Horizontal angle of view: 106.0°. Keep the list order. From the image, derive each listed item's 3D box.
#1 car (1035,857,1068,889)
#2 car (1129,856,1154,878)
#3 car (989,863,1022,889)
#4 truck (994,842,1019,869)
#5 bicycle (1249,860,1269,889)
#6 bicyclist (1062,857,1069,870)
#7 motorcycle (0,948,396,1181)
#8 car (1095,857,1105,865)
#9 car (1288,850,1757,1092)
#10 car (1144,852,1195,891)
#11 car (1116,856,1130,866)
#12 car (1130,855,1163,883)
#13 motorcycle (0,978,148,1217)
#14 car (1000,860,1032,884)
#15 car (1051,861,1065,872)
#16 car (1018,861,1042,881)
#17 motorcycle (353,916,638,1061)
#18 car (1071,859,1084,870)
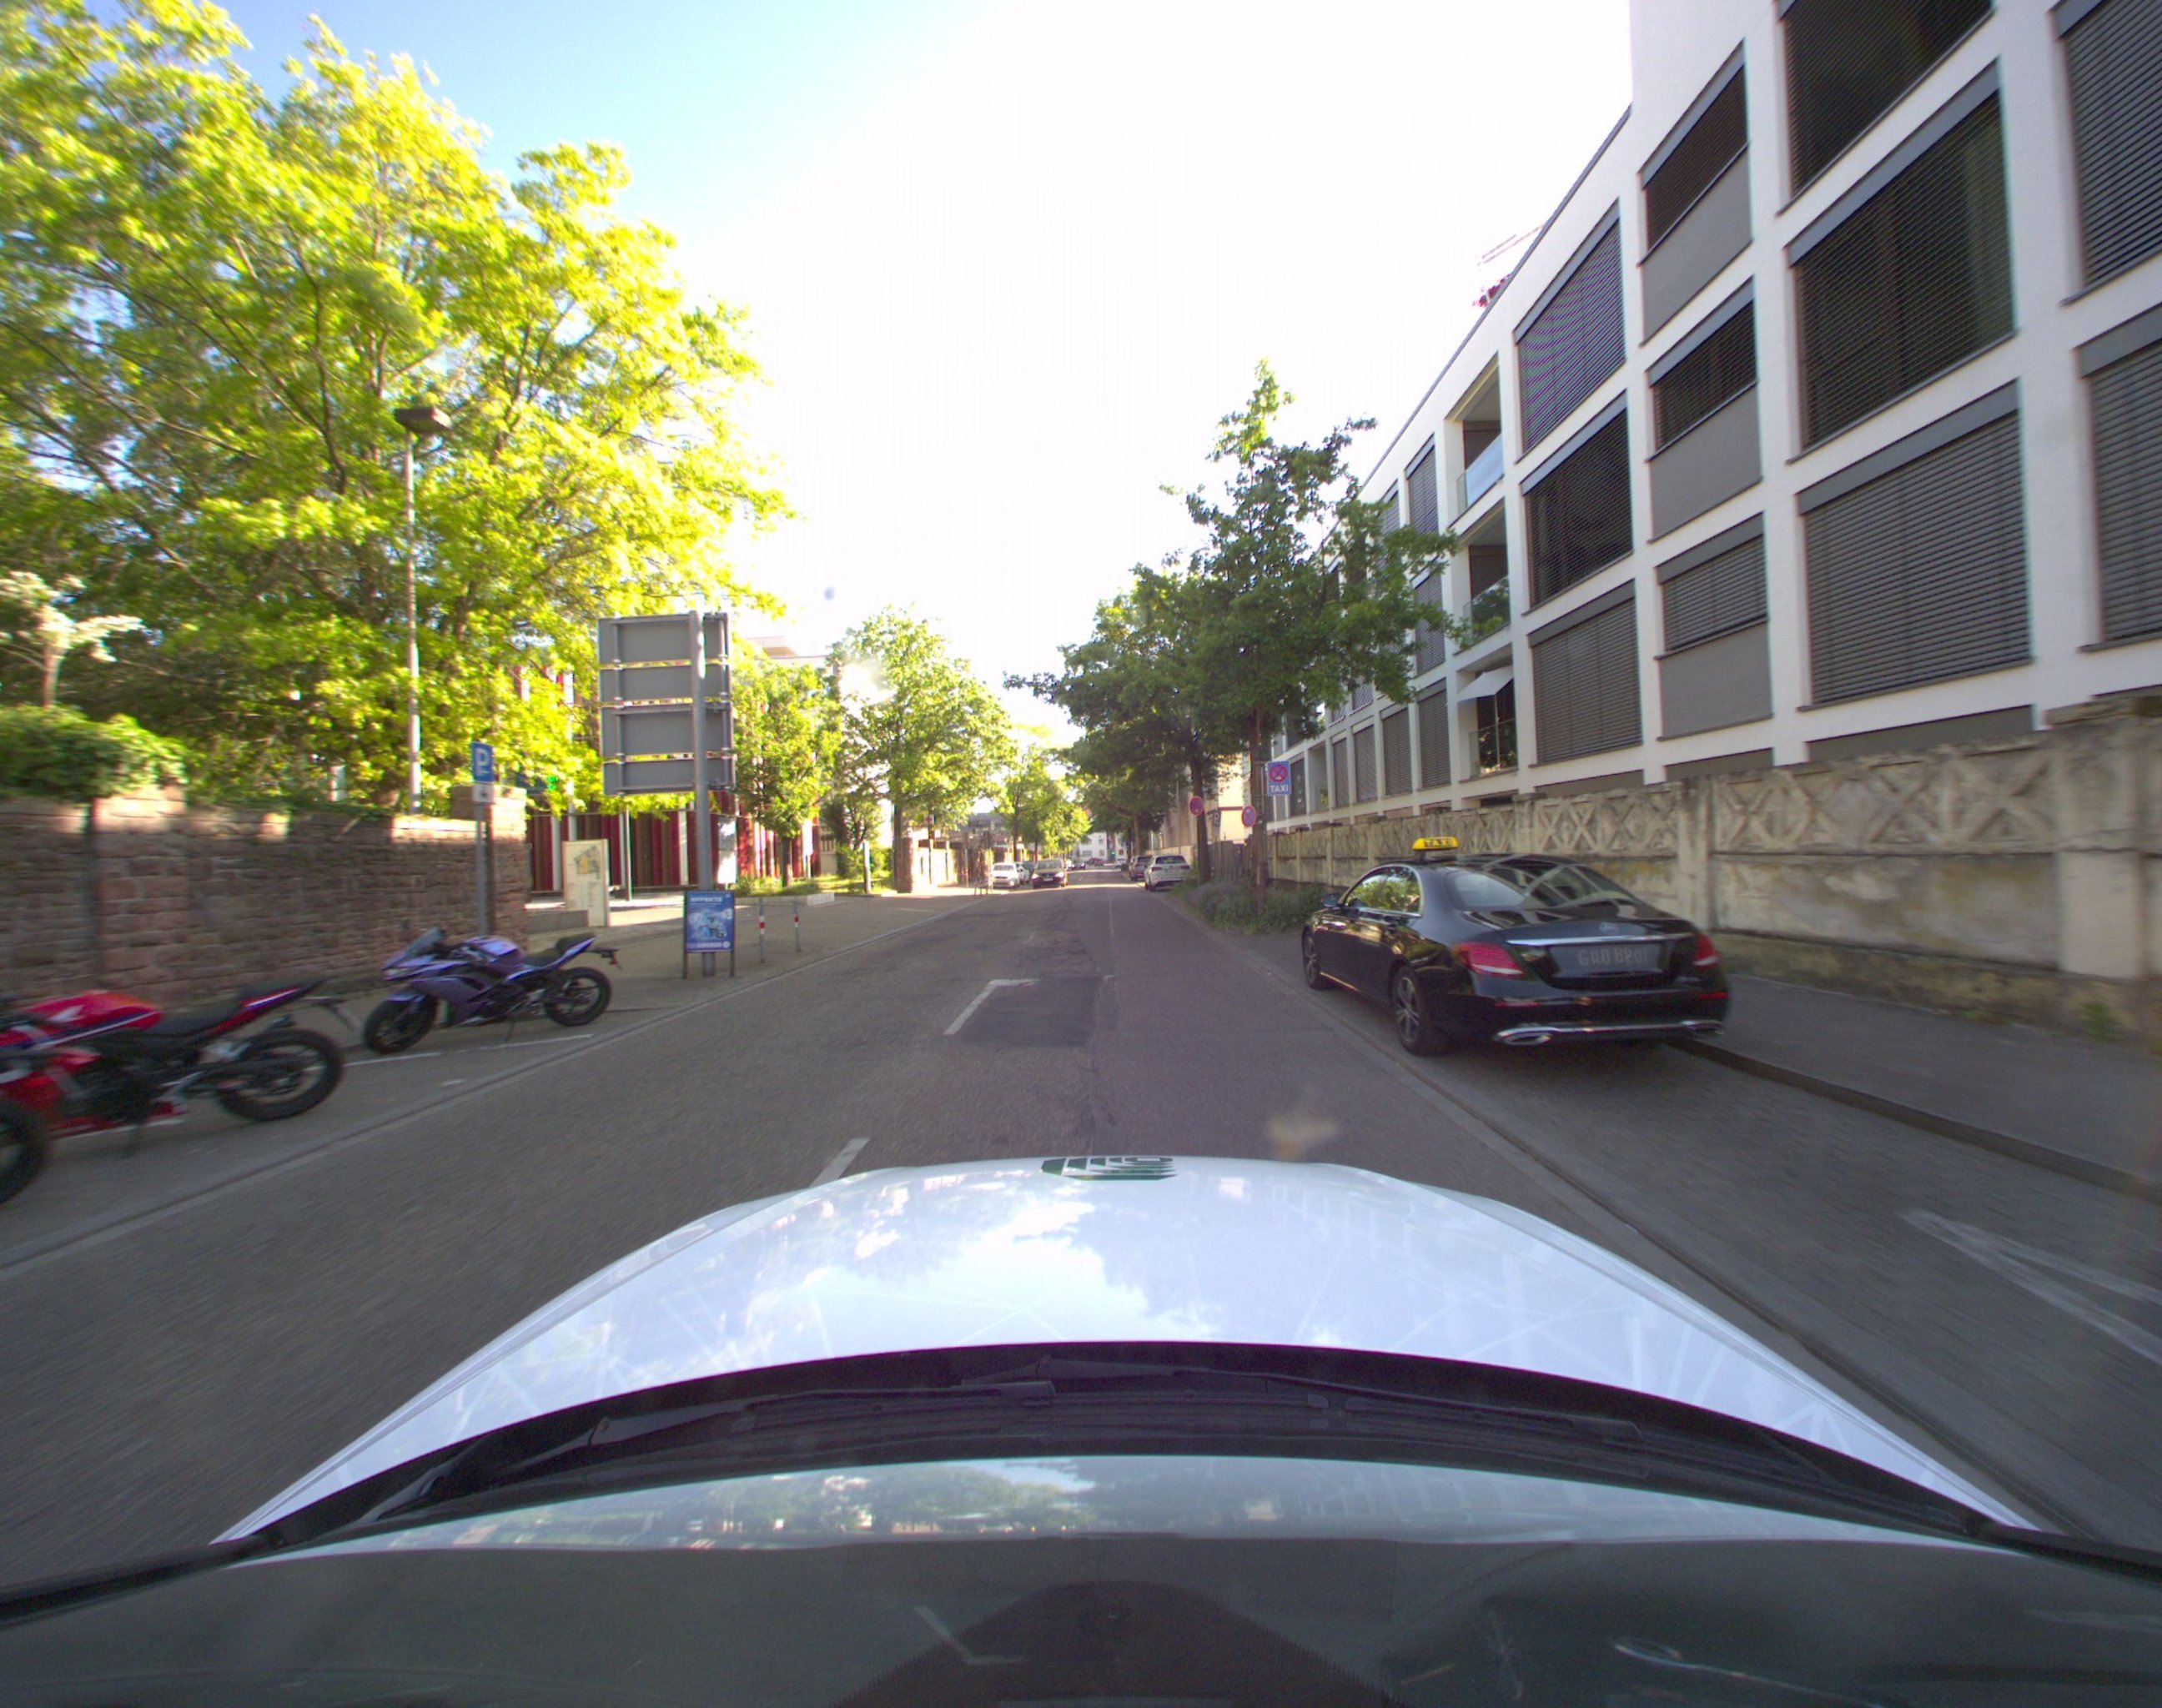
[{"bbox_3d":[-1.603,1.041,45.742,1.639,1.611,4.019,-4,0,-1],"label":"car"},{"bbox_3d":[4.515,0.932,60.806,1.716,1.510,3.996,-4,0,4],"label":"car"},{"bbox_3d":[-4.411,1.245,47.932,1.568,1.402,3.750,1,0,0],"label":"car"},{"bbox_3d":[-10.522,0.254,115.615,2.723,3.711,7.429,0,-1,1],"label":"truck"},{"bbox_3d":[6.560,0.734,29.996,0.335,1.041,1.831,-1,-1,1],"label":"bicycle"},{"bbox_3d":[-1.827,1.108,97.552,0.717,1.522,1.006,0,-1,4],"label":"bicyclist"},{"bbox_3d":[-5.664,1.229,5.047,0.525,1.039,2.104,-1,0,32],"label":"motorcycle"},{"bbox_3d":[3.516,1.341,149.974,1.633,1.443,3.422,0,-1,2],"label":"car"},{"bbox_3d":[3.274,0.704,7.310,1.713,1.410,4.765,-2,0,2],"label":"car"},{"bbox_3d":[3.847,0.730,35.927,1.787,1.615,4.125,-1,0,0],"label":"car"},{"bbox_3d":[5.994,1.035,117.182,1.826,1.323,4.496,-3,-1,1],"label":"car"},{"bbox_3d":[4.118,0.902,51.796,1.707,1.638,4.301,-2,0,-1],"label":"car"},{"bbox_3d":[-5.687,1.217,3.527,0.525,1.039,2.104,-1,0,32],"label":"motorcycle"},{"bbox_3d":[-4.293,1.167,54.059,1.670,1.511,3.851,1,0,2],"label":"car"},{"bbox_3d":[-3.094,1.737,110.265,1.603,1.459,3.709,0,-1,2],"label":"car"},{"bbox_3d":[-4.073,1.309,65.691,1.568,1.515,4.044,-2,0,0],"label":"car"},{"bbox_3d":[-5.560,1.212,7.902,0.593,1.032,2.141,-2,0,35],"label":"motorcycle"},{"bbox_3d":[-0.475,1.477,110.599,1.816,1.436,3.968,0,0,-1],"label":"car"}]
